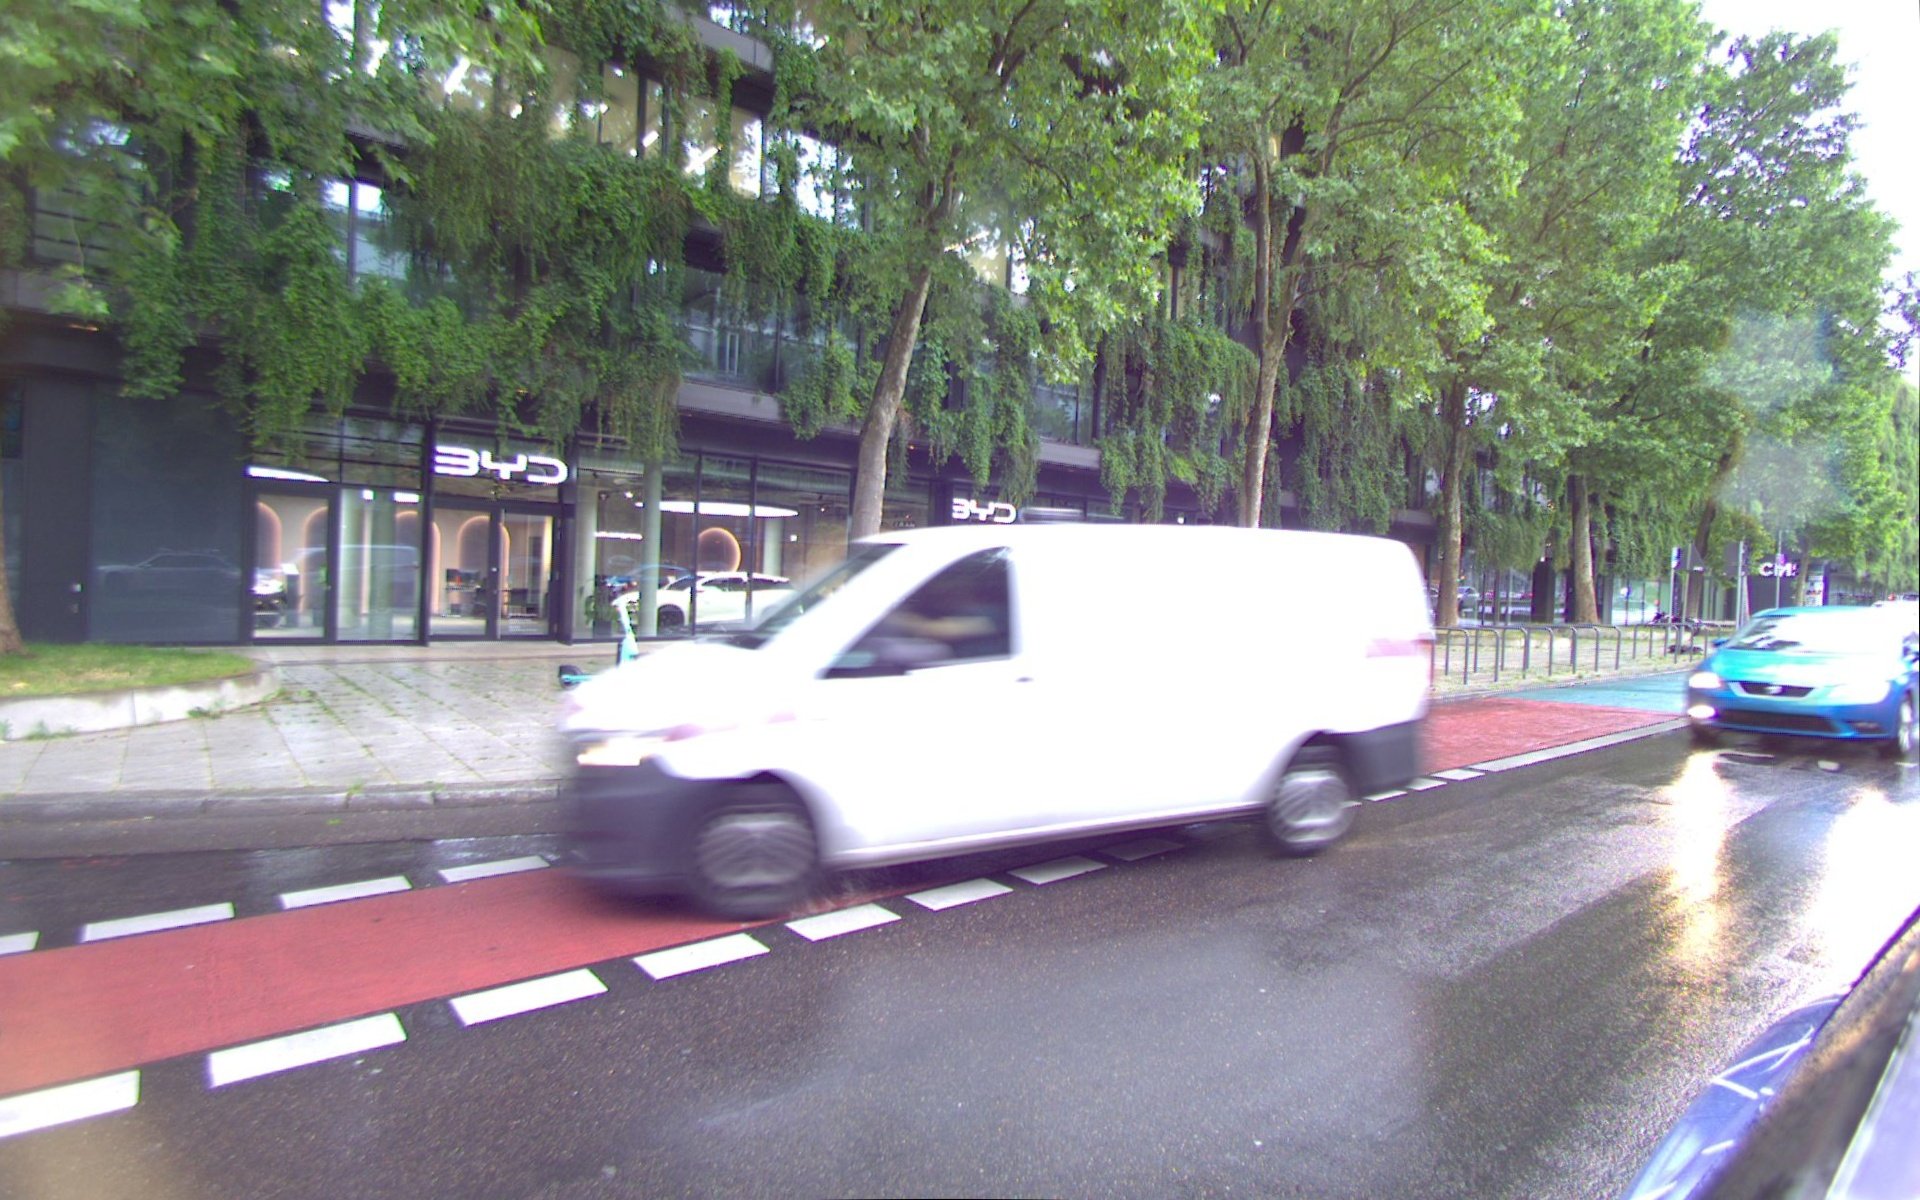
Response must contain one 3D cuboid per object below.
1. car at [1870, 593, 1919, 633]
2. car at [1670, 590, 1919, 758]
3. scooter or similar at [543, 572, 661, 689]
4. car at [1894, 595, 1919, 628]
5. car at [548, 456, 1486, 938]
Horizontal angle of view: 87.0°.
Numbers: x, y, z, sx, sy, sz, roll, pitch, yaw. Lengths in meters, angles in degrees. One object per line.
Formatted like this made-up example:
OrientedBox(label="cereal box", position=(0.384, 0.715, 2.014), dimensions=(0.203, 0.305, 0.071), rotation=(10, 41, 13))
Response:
OrientedBox(label="car", position=(44.548, 0.578, 47.686), dimensions=(4.519, 1.757, 1.931), rotation=(-1, 1, -41))
OrientedBox(label="car", position=(9.545, 0.645, 11.035), dimensions=(3.987, 1.453, 1.801), rotation=(-1, 2, -37))
OrientedBox(label="scooter or similar", position=(-4.097, 0.332, 11.614), dimensions=(1.165, 1.298, 0.535), rotation=(0, 0, 10))
OrientedBox(label="car", position=(49.243, 0.569, 51.376), dimensions=(4.503, 1.581, 2.035), rotation=(-1, 1, -39))
OrientedBox(label="car", position=(0.327, 0.385, 5.814), dimensions=(4.859, 1.970, 1.930), rotation=(0, 1, -18))
